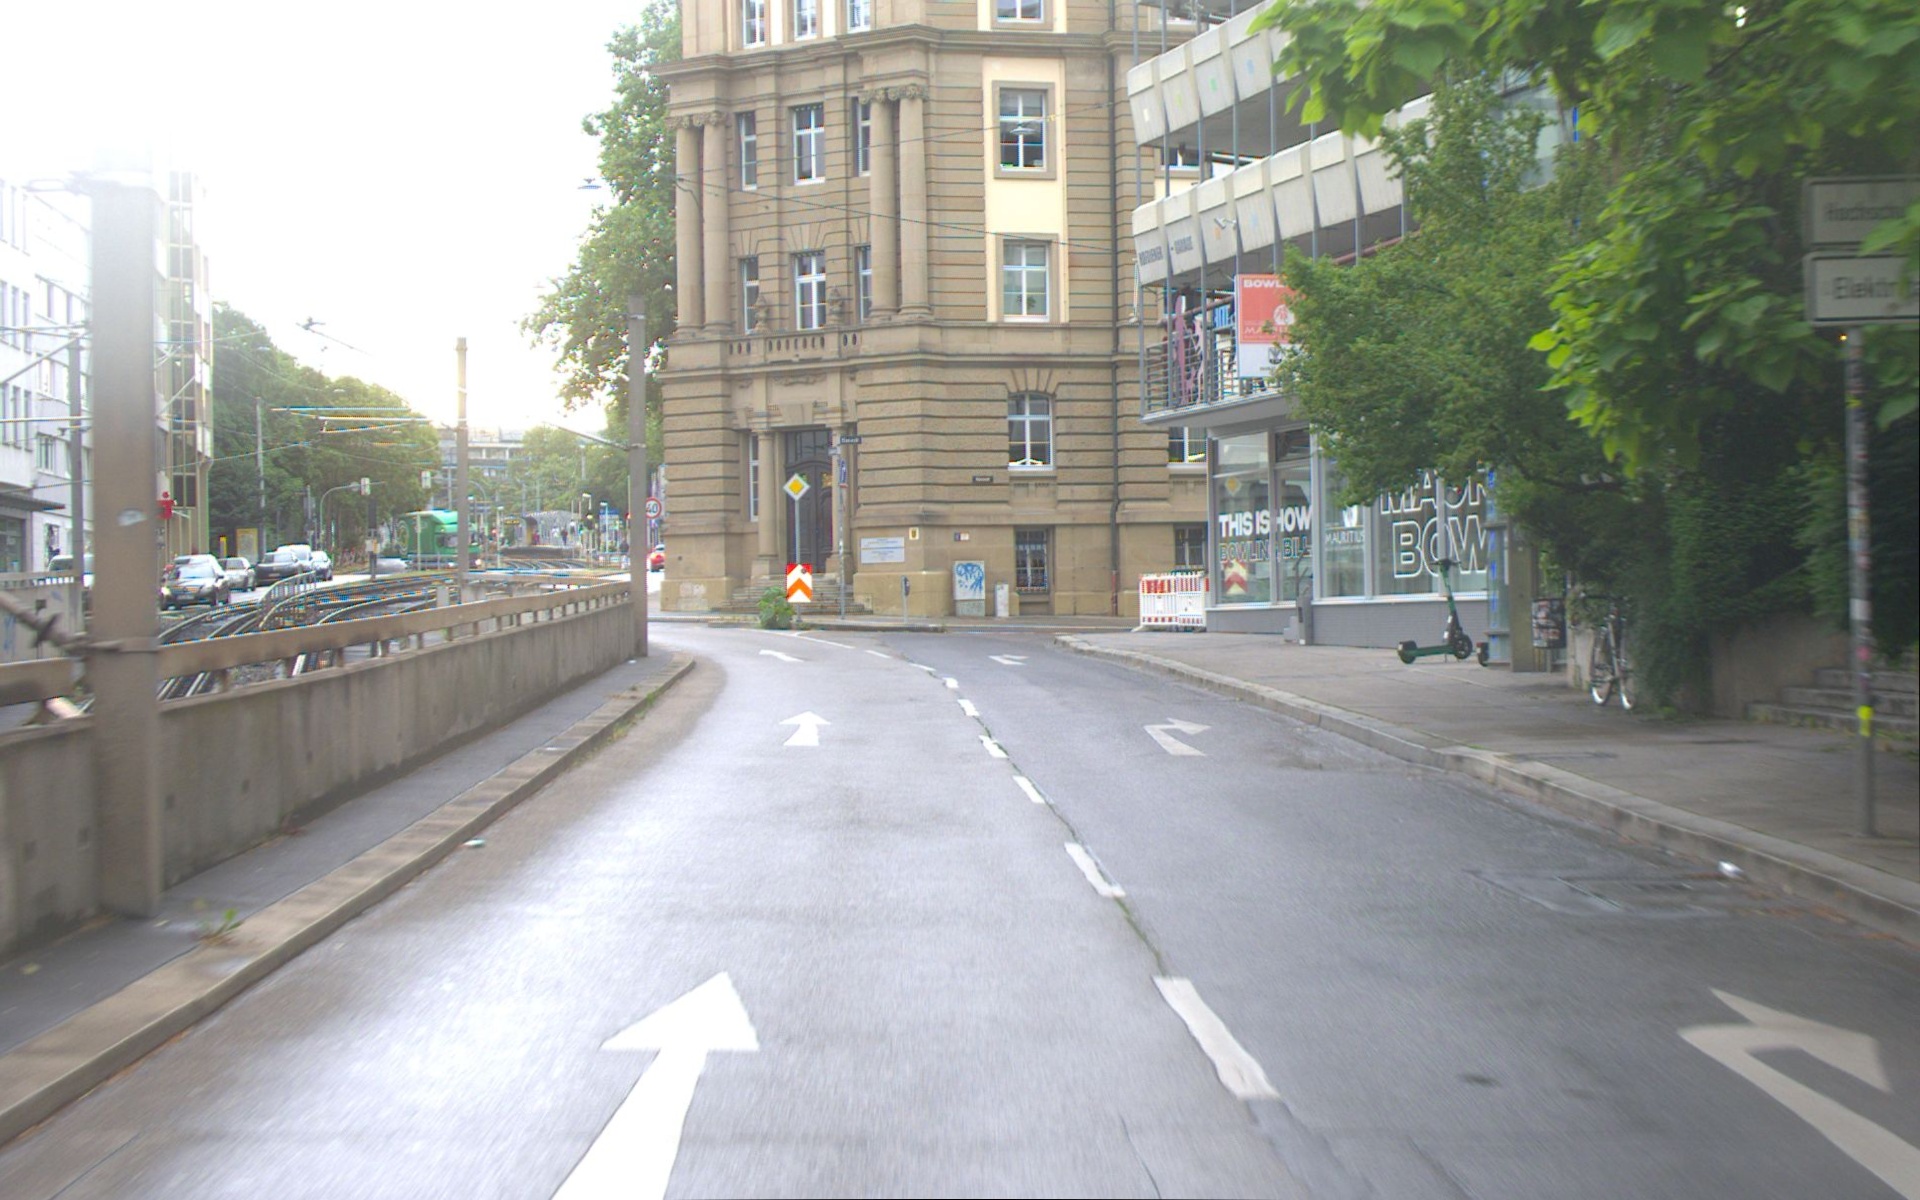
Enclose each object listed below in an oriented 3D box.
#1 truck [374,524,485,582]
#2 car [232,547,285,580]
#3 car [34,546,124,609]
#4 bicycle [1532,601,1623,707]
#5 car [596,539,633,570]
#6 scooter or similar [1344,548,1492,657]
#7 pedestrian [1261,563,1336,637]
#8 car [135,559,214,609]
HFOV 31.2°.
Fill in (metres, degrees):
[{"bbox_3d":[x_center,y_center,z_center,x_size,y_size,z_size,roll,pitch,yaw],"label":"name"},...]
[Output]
[{"bbox_3d":[-32.786,-2.895,212.329,7.921,3.375,1.995,2,1,40],"label":"truck"},{"bbox_3d":[-31.946,-1.673,156.703,1.993,1.451,4.312,0,1,-6],"label":"car"},{"bbox_3d":[-26.901,-0.710,105.130,1.993,1.876,4.928,0,1,-6],"label":"car"},{"bbox_3d":[5.472,0.471,30.537,0.470,0.882,1.690,-1,1,-1],"label":"bicycle"},{"bbox_3d":[-19.000,-2.494,188.889,1.993,1.656,4.001,0,1,-6],"label":"car"},{"bbox_3d":[5.659,0.021,42.472,1.635,1.263,0.743,-3,2,-26],"label":"scooter or similar"},{"bbox_3d":[5.183,-0.009,52.654,0.752,1.119,1.247,0,1,-15],"label":"pedestrian"},{"bbox_3d":[-24.490,-0.503,107.319,1.993,1.522,3.663,0,1,-6],"label":"car"}]
